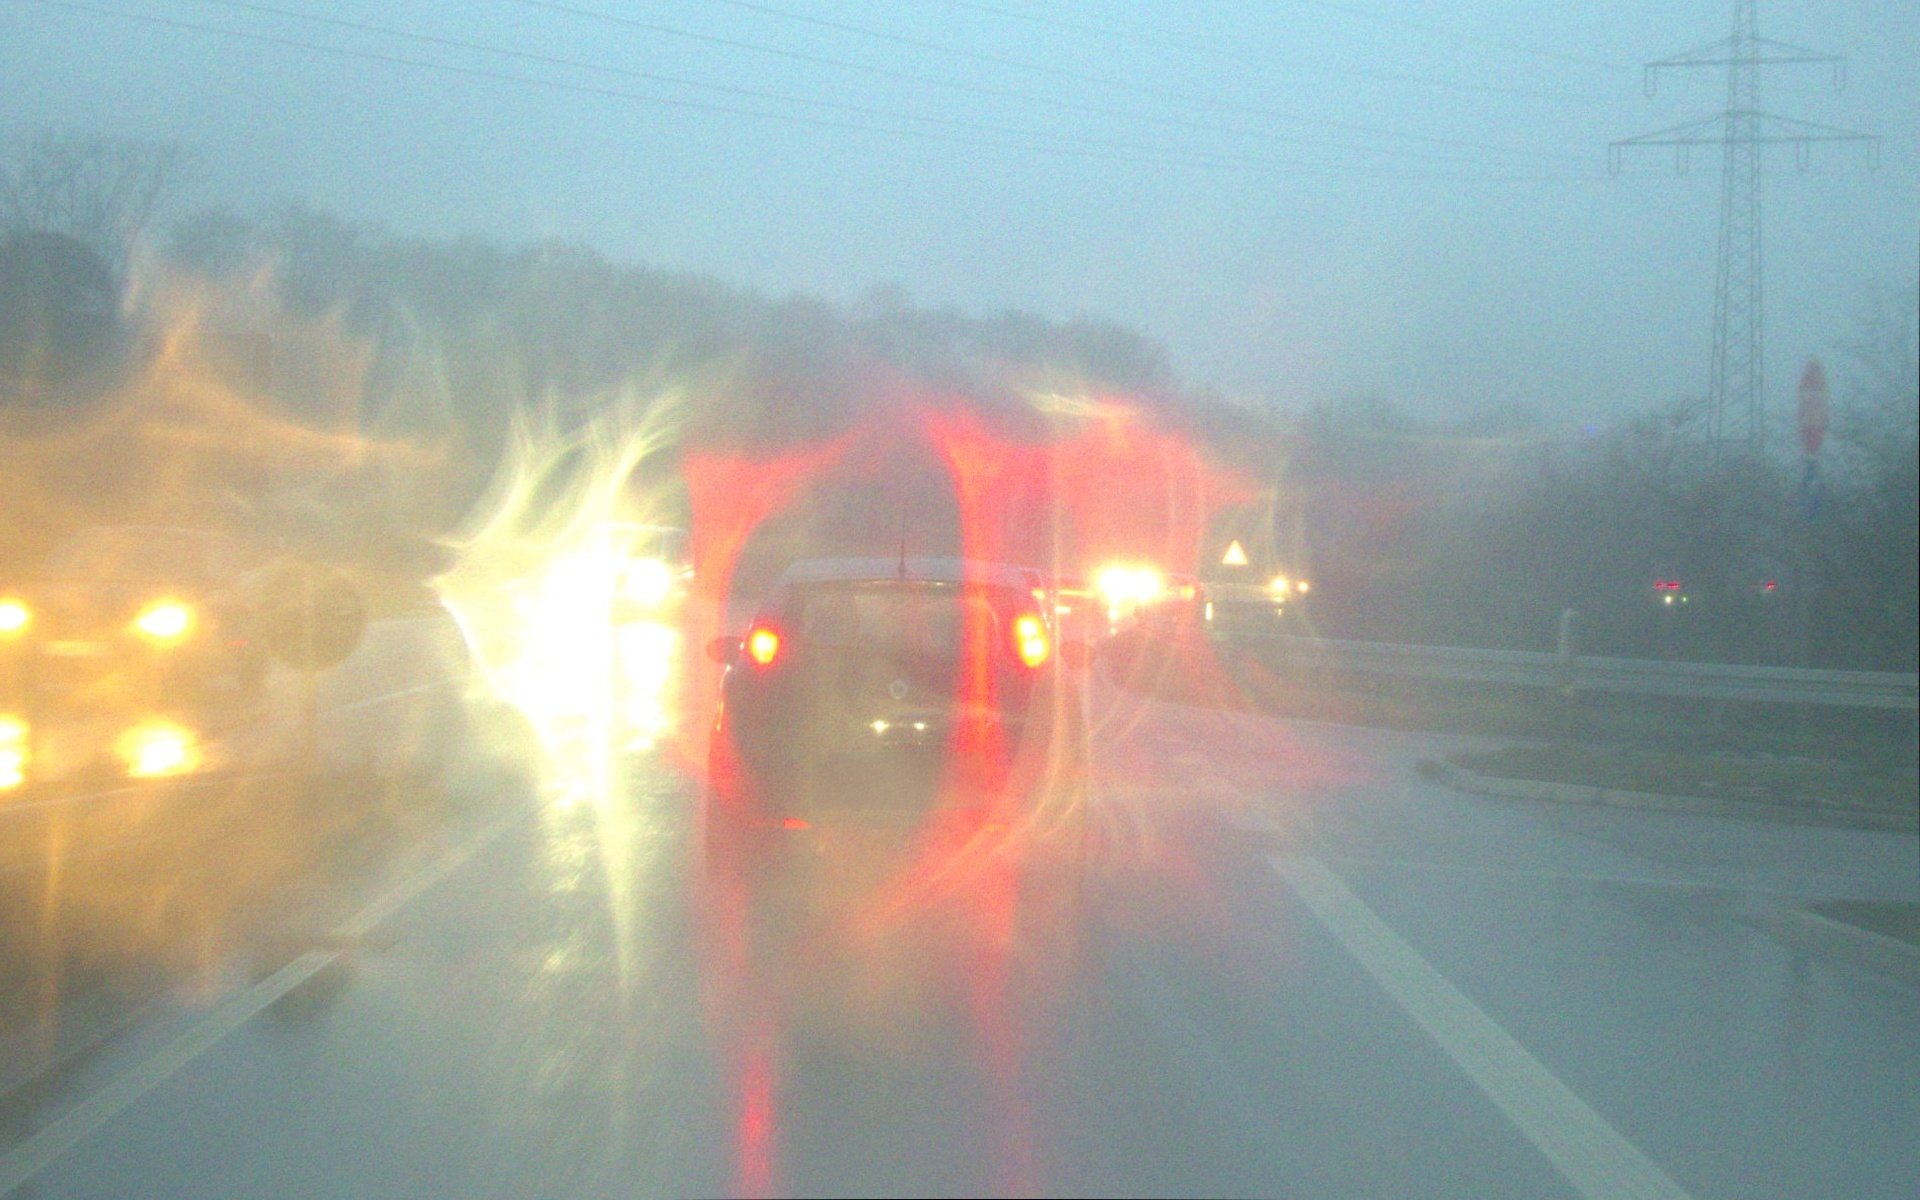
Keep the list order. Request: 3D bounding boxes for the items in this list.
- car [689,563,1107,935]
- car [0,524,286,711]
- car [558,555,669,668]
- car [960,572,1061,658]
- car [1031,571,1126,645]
[{"bbox_3d":[-0.257,0.601,16.383,1.730,1.527,4.042,-1,1,0],"label":"car"},{"bbox_3d":[-7.076,0.117,29.834,1.646,1.496,4.000,0,1,0],"label":"car"},{"bbox_3d":[-6.756,0.181,67.491,1.871,2.130,5.181,0,1,-3],"label":"car"},{"bbox_3d":[1.141,0.314,75.448,1.946,1.739,4.000,3,1,4],"label":"car"},{"bbox_3d":[3.219,0.199,92.935,1.947,1.738,3.999,7,1,8],"label":"car"}]
